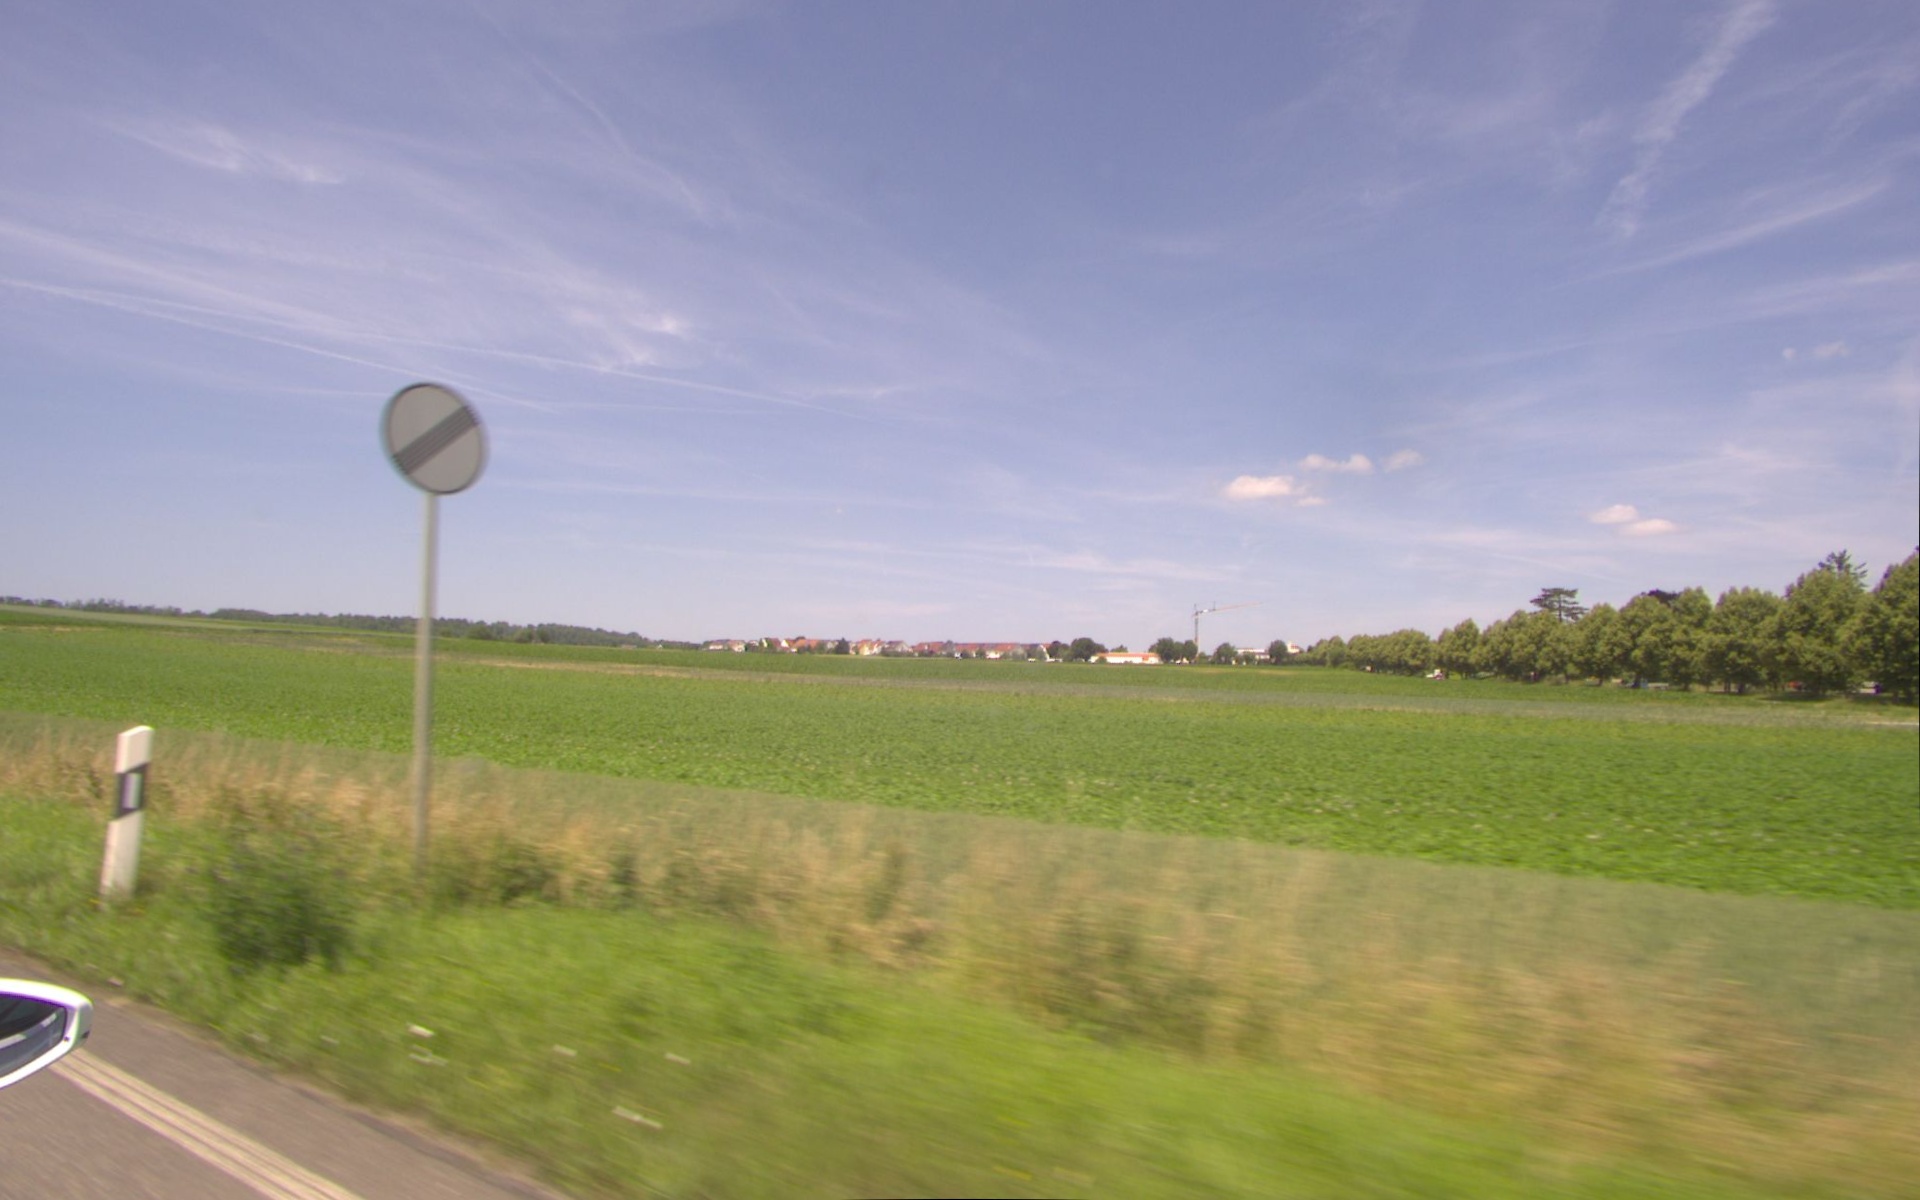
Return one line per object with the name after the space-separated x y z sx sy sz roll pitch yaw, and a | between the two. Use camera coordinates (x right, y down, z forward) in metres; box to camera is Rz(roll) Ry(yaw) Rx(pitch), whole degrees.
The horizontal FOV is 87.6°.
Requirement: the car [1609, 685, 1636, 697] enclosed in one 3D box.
100.232 13.756 151.569 1.962 1.668 4.003 -1 -5 11 | car
